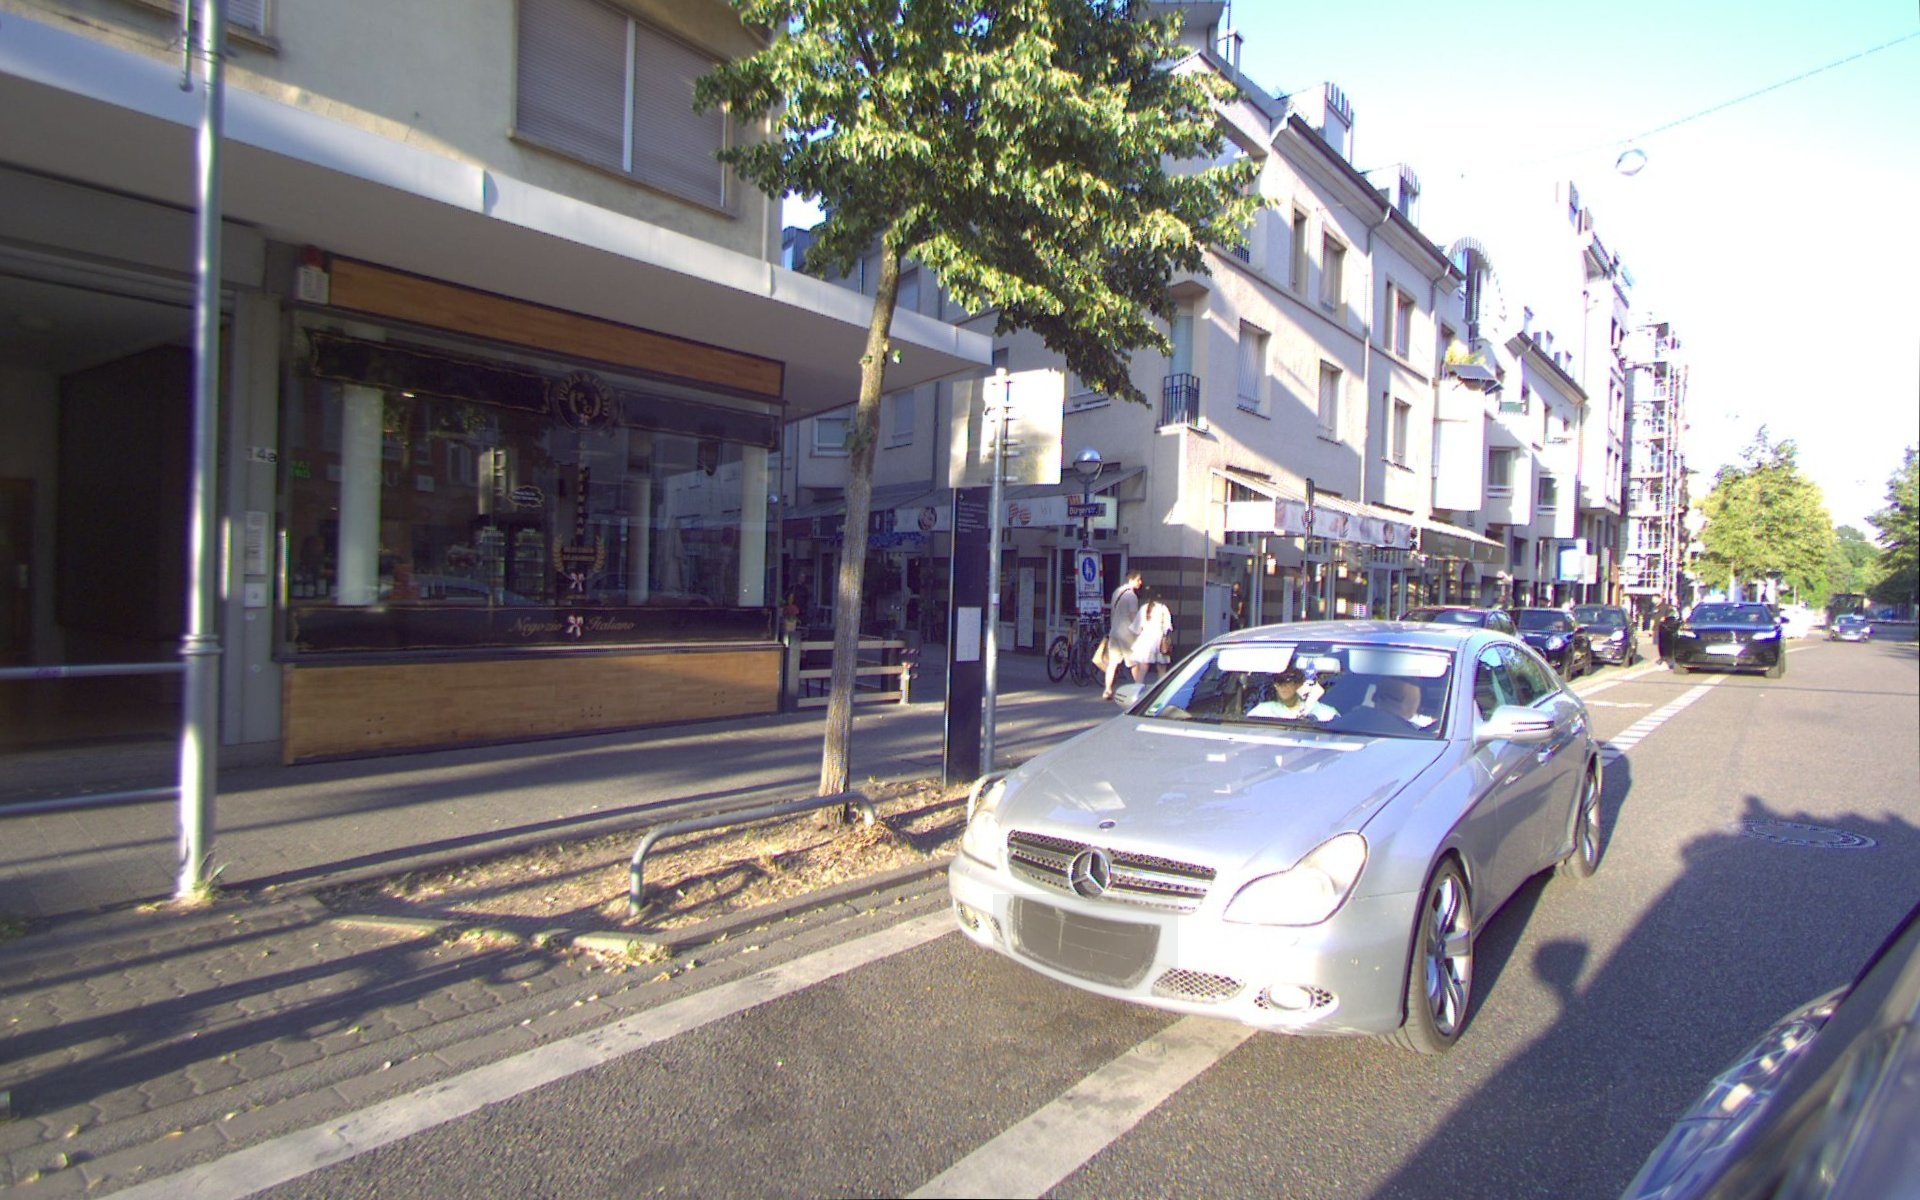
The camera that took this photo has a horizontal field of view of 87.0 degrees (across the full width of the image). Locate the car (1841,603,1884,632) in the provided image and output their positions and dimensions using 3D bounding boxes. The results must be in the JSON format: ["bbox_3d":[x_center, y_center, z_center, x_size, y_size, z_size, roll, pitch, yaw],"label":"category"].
[{"bbox_3d":[48.404,0.910,54.309,1.616,1.492,3.634,0,0,41],"label":"car"}]

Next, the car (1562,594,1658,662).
[{"bbox_3d":[17.190,0.676,26.690,1.615,1.612,3.868,2,1,40],"label":"car"}]

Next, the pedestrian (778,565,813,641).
[{"bbox_3d":[-3.780,0.059,23.247,0.688,1.696,0.799,2,2,-13],"label":"pedestrian"}]

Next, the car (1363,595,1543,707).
[{"bbox_3d":[7.765,0.693,15.767,1.587,1.451,3.868,4,2,40],"label":"car"}]

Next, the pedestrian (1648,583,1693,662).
[{"bbox_3d":[17.441,0.544,24.845,0.776,1.907,0.660,-2,-2,41],"label":"pedestrian"}]

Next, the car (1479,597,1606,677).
[{"bbox_3d":[12.229,0.704,21.137,1.615,1.452,3.868,3,2,40],"label":"car"}]

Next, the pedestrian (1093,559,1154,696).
[{"bbox_3d":[2.215,0.357,13.717,0.543,1.779,0.495,5,3,41],"label":"pedestrian"}]

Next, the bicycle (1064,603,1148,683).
[{"bbox_3d":[2.248,0.624,15.413,0.290,1.118,1.859,2,1,41],"label":"bicycle"}]

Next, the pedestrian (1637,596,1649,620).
[{"bbox_3d":[36.360,0.423,53.868,0.490,1.279,0.415,0,0,42],"label":"pedestrian"}]

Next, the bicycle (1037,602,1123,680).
[{"bbox_3d":[1.892,0.610,15.713,0.320,1.118,1.851,2,1,41],"label":"bicycle"}]

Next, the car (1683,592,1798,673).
[{"bbox_3d":[17.962,0.674,23.222,1.884,1.656,4.165,0,0,41],"label":"car"}]

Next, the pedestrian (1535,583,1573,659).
[{"bbox_3d":[14.261,0.501,24.308,0.629,1.771,0.660,3,2,41],"label":"pedestrian"}]

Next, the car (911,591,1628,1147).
[{"bbox_3d":[1.940,0.683,4.974,1.740,1.418,4.572,1,1,40],"label":"car"}]

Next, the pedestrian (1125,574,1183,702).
[{"bbox_3d":[2.548,0.486,13.291,0.519,1.612,0.402,5,3,41],"label":"pedestrian"}]

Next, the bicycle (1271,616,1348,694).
[{"bbox_3d":[5.236,0.794,15.100,0.314,1.059,1.853,3,2,43],"label":"bicycle"}]

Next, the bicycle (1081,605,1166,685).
[{"bbox_3d":[2.481,0.642,15.192,0.320,1.118,1.851,2,1,41],"label":"bicycle"}]

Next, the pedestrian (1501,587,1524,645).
[{"bbox_3d":[17.591,0.513,32.225,0.574,1.823,0.443,0,0,42],"label":"pedestrian"}]

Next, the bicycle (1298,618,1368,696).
[{"bbox_3d":[5.494,0.809,14.865,0.314,1.059,1.638,3,2,43],"label":"bicycle"}]
